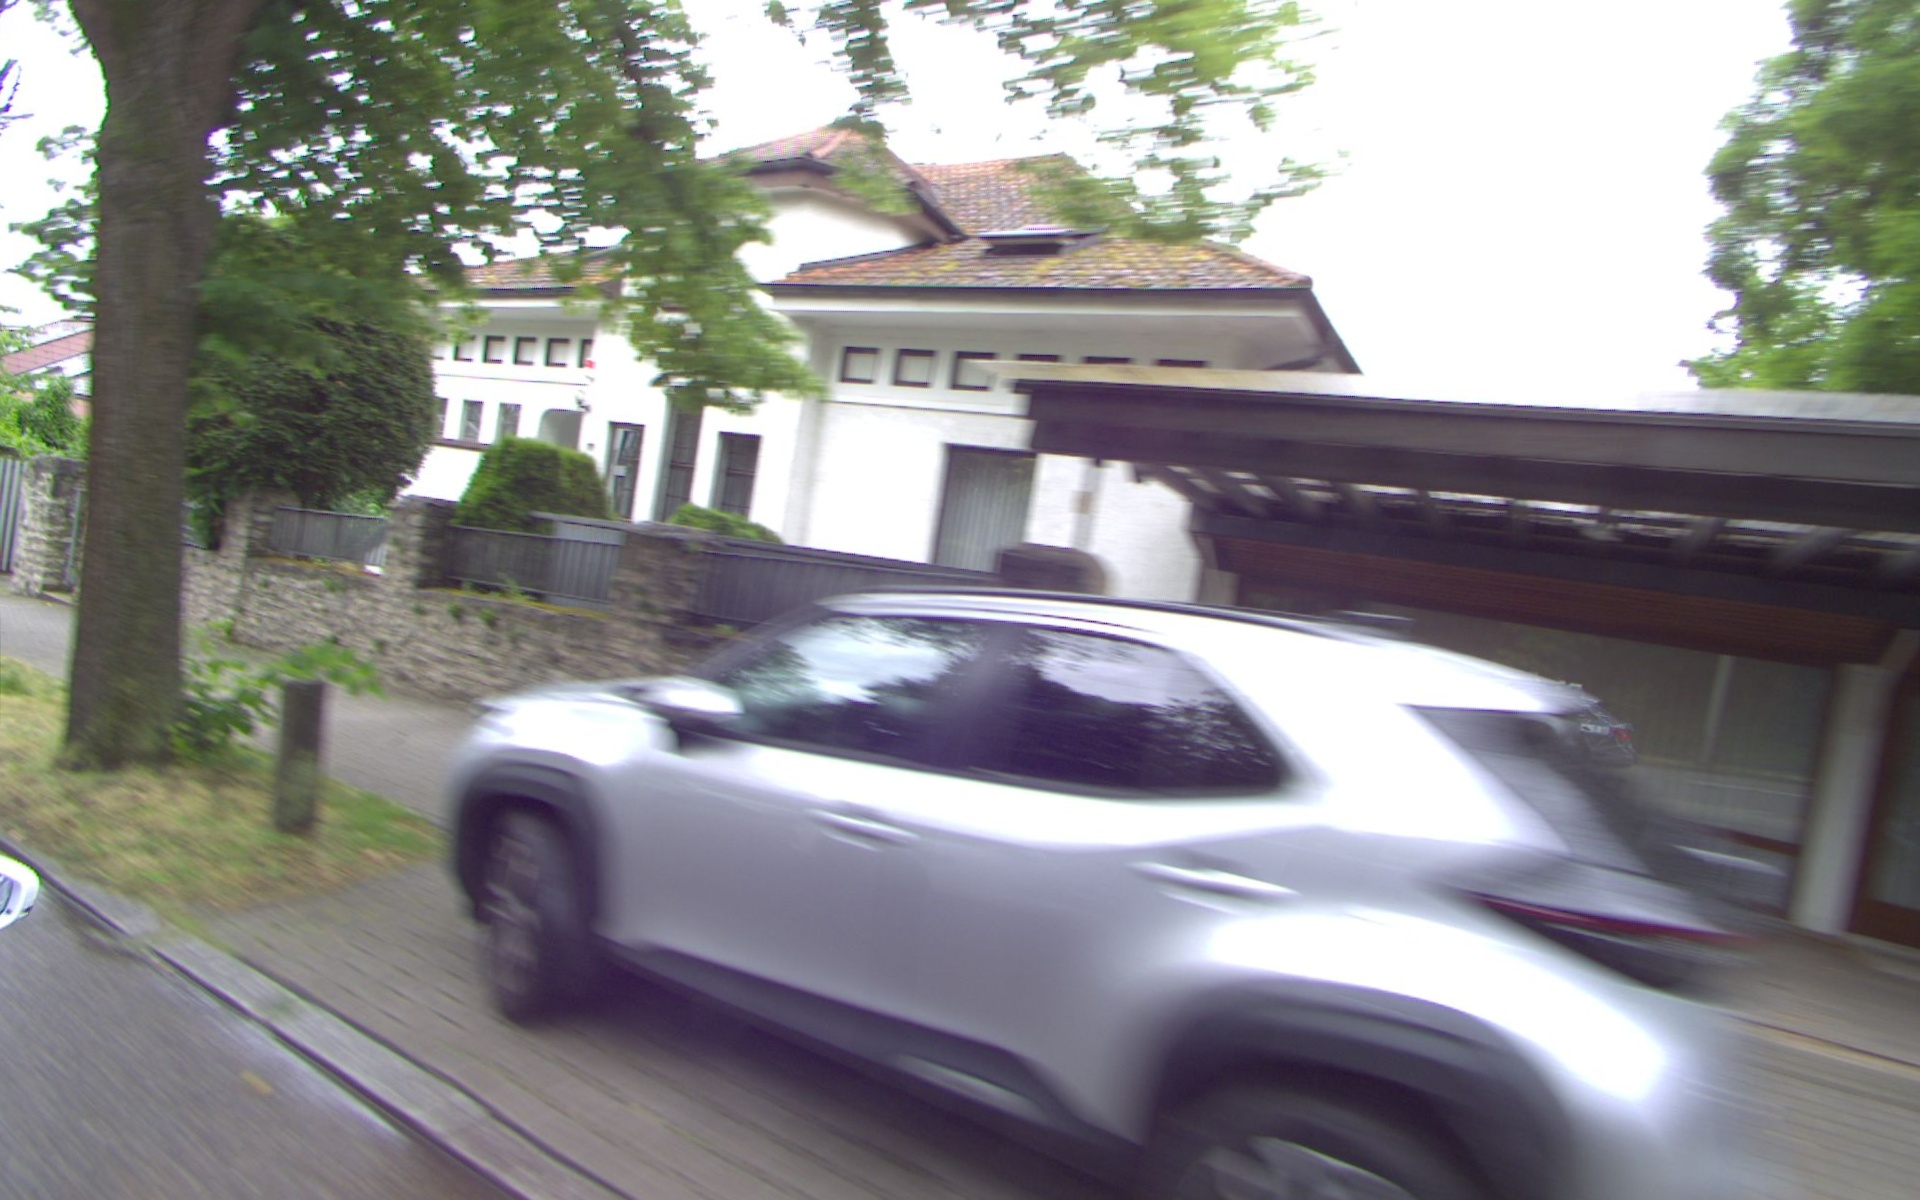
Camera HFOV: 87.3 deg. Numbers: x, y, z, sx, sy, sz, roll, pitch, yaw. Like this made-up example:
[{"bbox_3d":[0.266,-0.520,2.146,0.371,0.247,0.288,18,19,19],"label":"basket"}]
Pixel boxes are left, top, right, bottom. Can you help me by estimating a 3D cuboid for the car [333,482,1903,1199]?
[{"bbox_3d":[0.011,0.669,3.405,4.149,1.588,1.918,9,3,32],"label":"car"}]
